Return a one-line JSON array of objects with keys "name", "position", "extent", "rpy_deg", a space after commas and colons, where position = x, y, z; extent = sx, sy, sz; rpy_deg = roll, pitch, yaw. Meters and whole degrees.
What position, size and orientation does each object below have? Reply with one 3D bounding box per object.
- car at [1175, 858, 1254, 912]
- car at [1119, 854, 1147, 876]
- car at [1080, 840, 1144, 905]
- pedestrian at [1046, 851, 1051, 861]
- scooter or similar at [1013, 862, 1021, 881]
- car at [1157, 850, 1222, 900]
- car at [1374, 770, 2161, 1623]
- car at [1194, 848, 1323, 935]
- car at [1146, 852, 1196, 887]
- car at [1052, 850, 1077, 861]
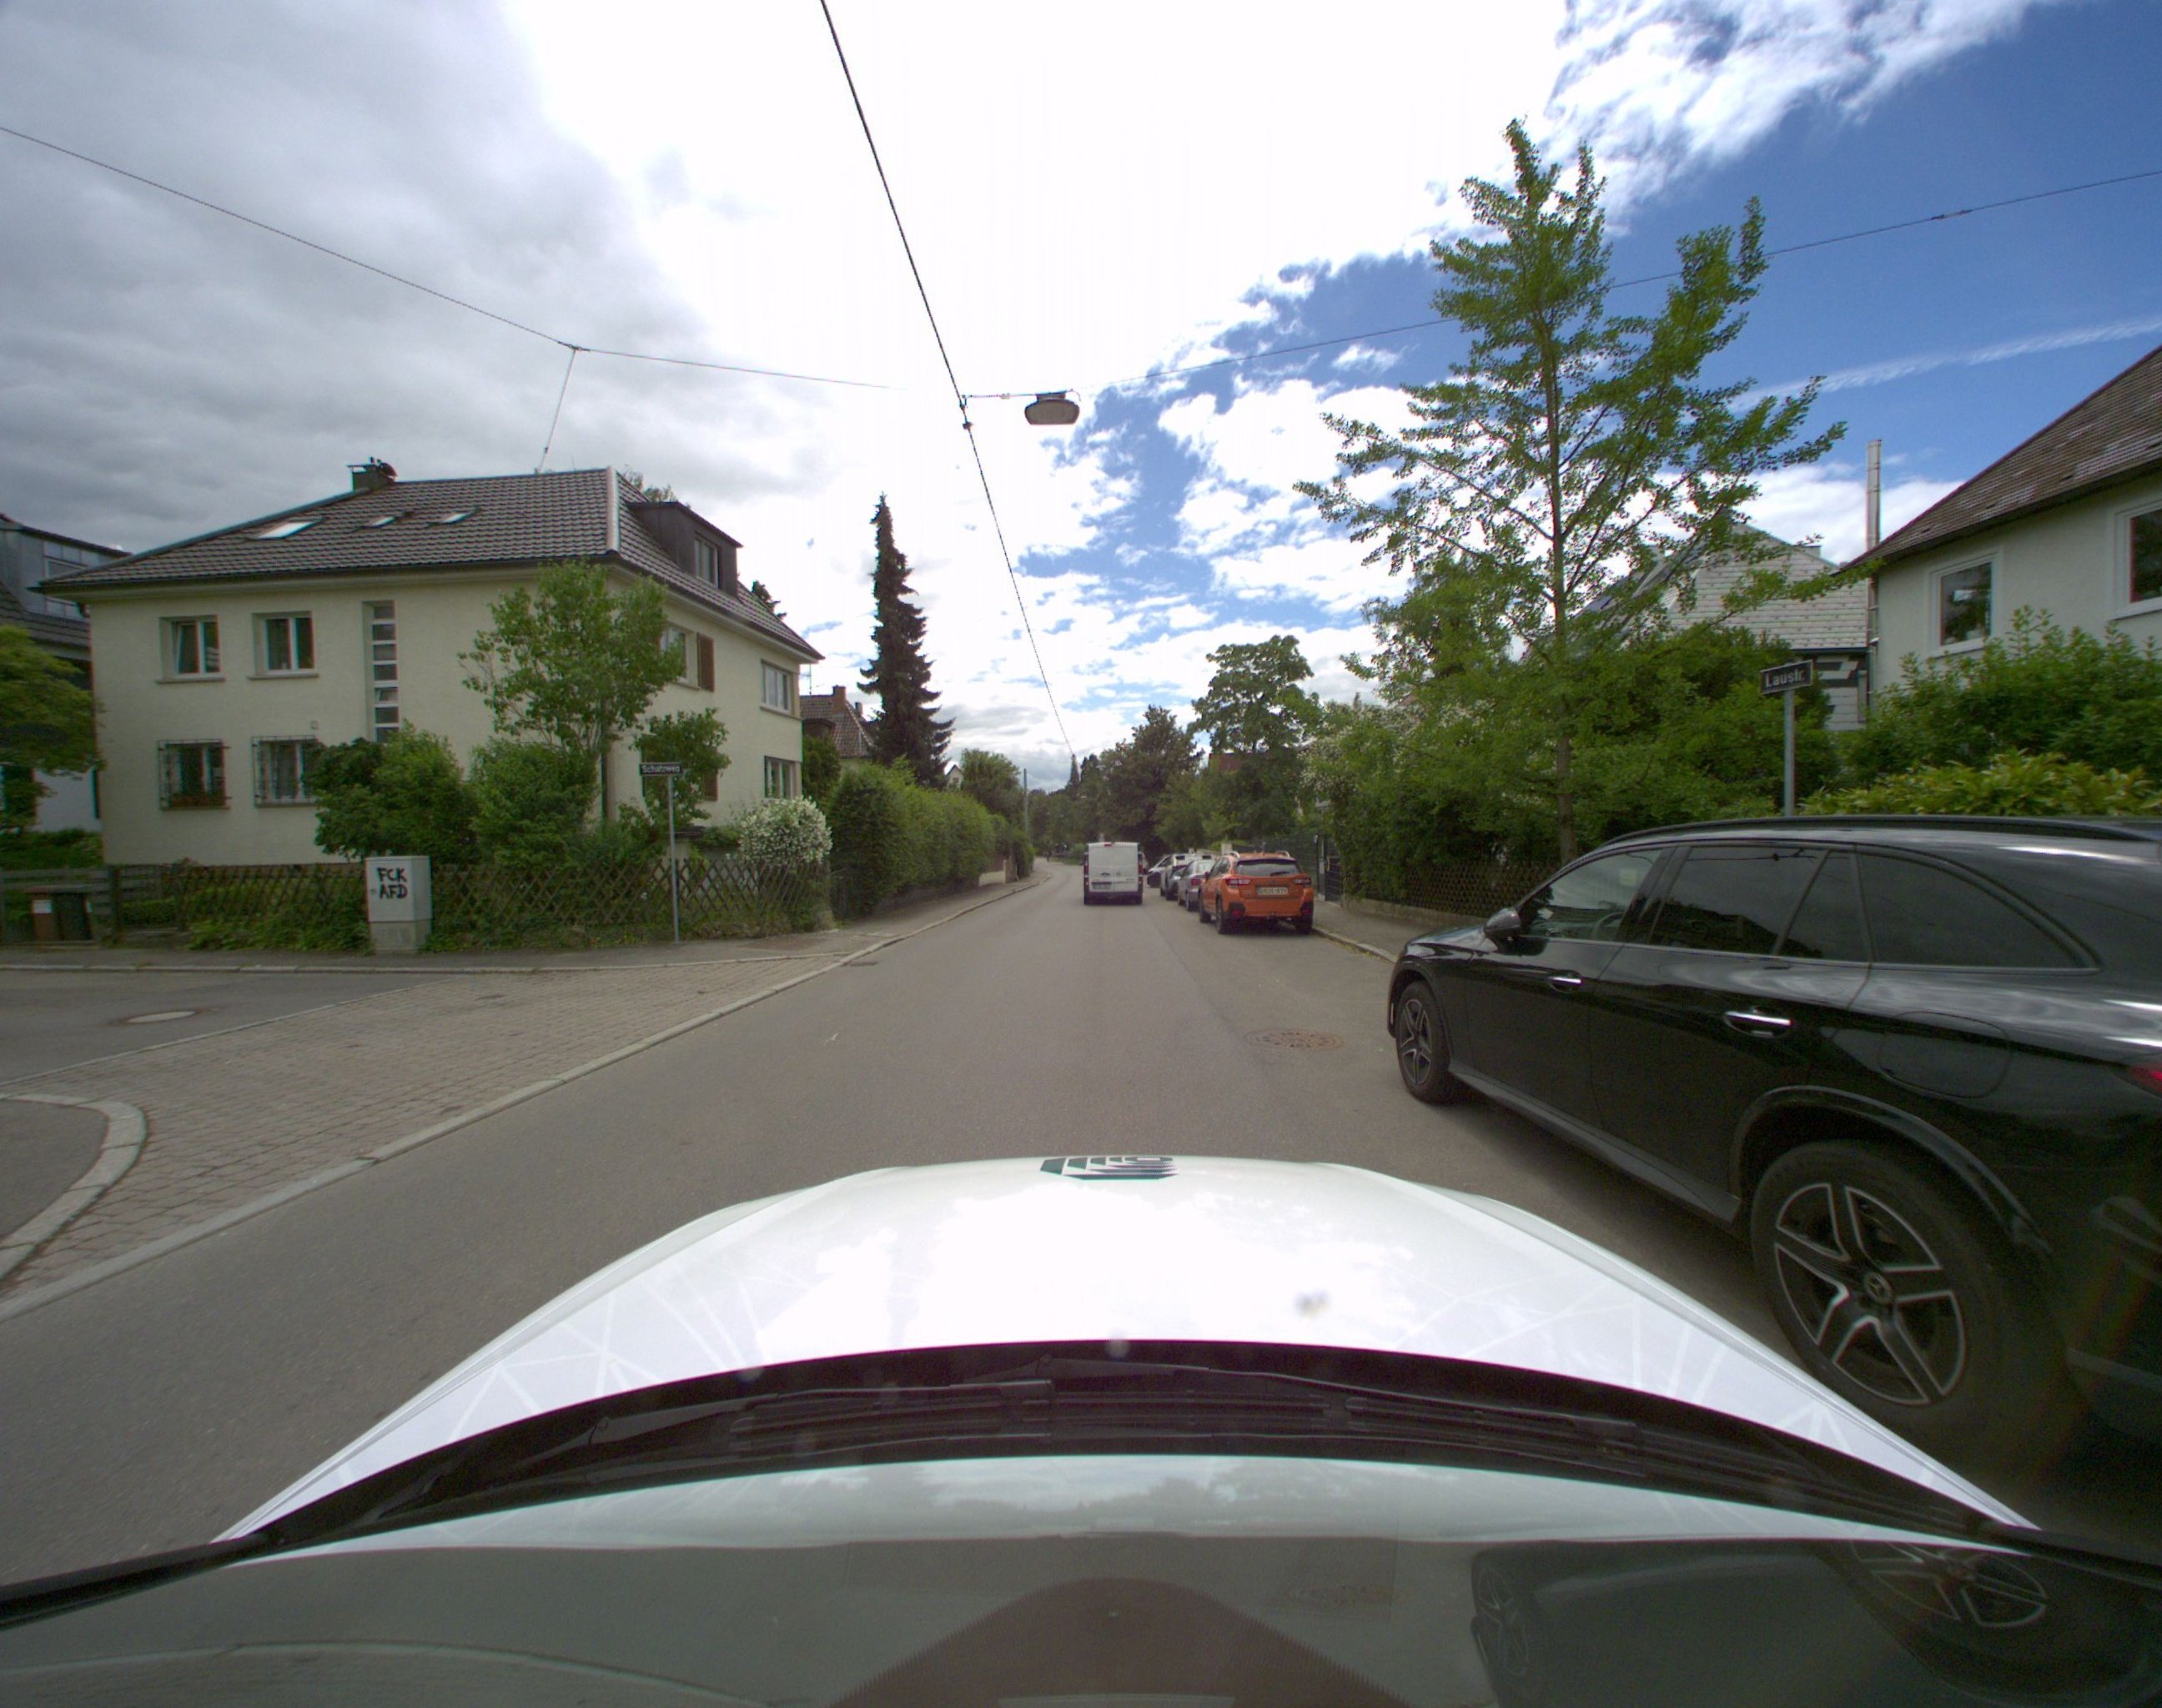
[{"name": "car", "position": [3.751, 0.823, 23.532], "extent": [1.710, 1.382, 4.237], "rpy_deg": [-1, 0, 2]}, {"name": "car", "position": [4.069, 0.831, 64.234], "extent": [1.860, 1.685, 4.348], "rpy_deg": [-1, 0, -1]}, {"name": "car", "position": [0.958, 0.533, 26.987], "extent": [1.924, 1.964, 4.401], "rpy_deg": [-1, 1, 0]}, {"name": "pedestrian", "position": [-5.207, 0.351, 129.059], "extent": [0.697, 1.616, 0.714], "rpy_deg": [-1, 2, -5]}, {"name": "scooter or similar", "position": [-4.122, 1.128, 52.461], "extent": [0.390, 1.171, 1.270], "rpy_deg": [-1, 0, 0]}, {"name": "car", "position": [3.784, 0.696, 29.023], "extent": [1.822, 1.623, 4.493], "rpy_deg": [-1, 0, 2]}, {"name": "car", "position": [3.021, 0.663, 3.490], "extent": [1.944, 1.626, 4.375], "rpy_deg": [0, 0, -1]}, {"name": "car", "position": [3.582, 0.705, 17.191], "extent": [1.844, 1.626, 4.169], "rpy_deg": [0, 0, 1]}, {"name": "car", "position": [4.246, 0.713, 38.349], "extent": [2.275, 1.524, 1.320], "rpy_deg": [-2, 0, 6]}, {"name": "car", "position": [-3.091, 0.290, 154.414], "extent": [4.399, 1.859, 1.893], "rpy_deg": [-1, 0, -16]}]
